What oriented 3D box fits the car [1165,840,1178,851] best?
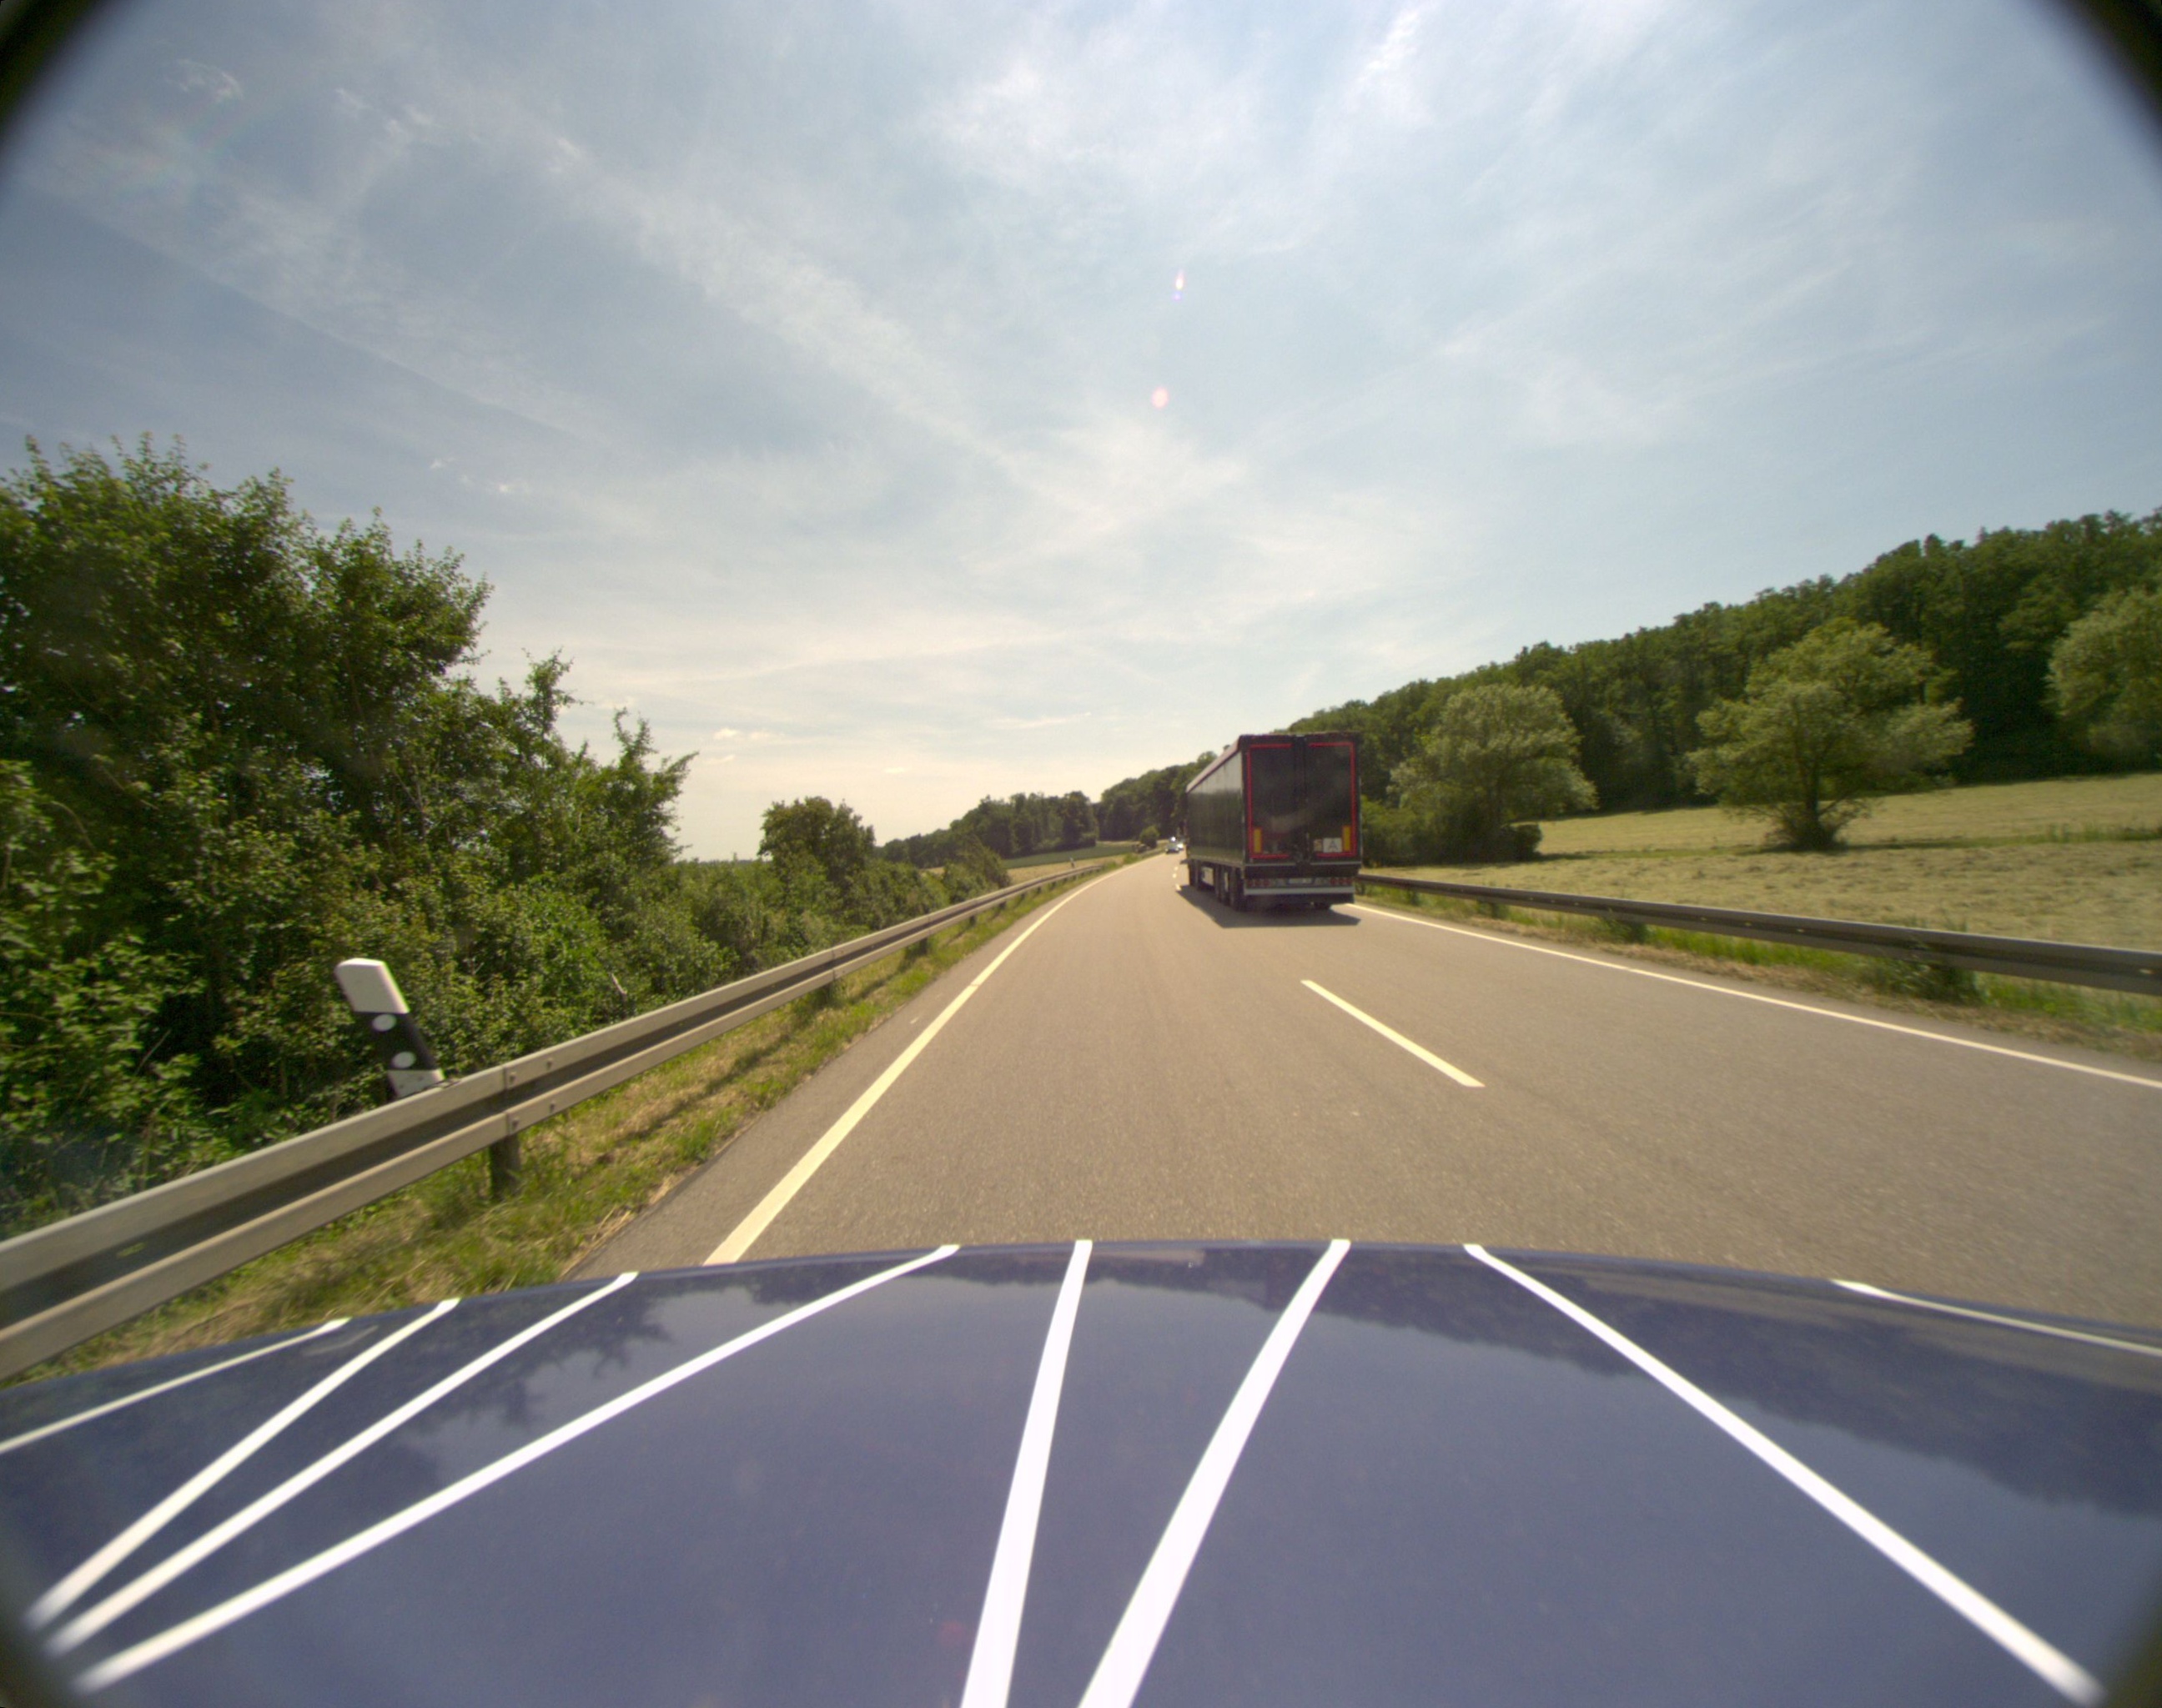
[{"bbox_3d":[12.685,-1.219,106.589,1.620,1.428,3.445,-3,1,10],"label":"car"}]

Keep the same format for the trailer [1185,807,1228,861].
[{"bbox_3d":[11.533,-1.841,70.505,3.380,4.376,13.752,-2,1,9],"label":"trailer"}]

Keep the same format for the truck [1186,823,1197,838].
[{"bbox_3d":[34.756,-7.376,239.086,3.181,4.493,13.325,-3,1,8],"label":"truck"}]

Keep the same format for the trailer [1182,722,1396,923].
[{"bbox_3d":[5.325,-0.739,23.227,3.249,4.126,14.444,-1,1,3],"label":"trailer"}]

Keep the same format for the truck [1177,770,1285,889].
[{"bbox_3d":[5.732,-0.870,30.310,3.249,4.126,6.653,-1,0,3],"label":"truck"}]
